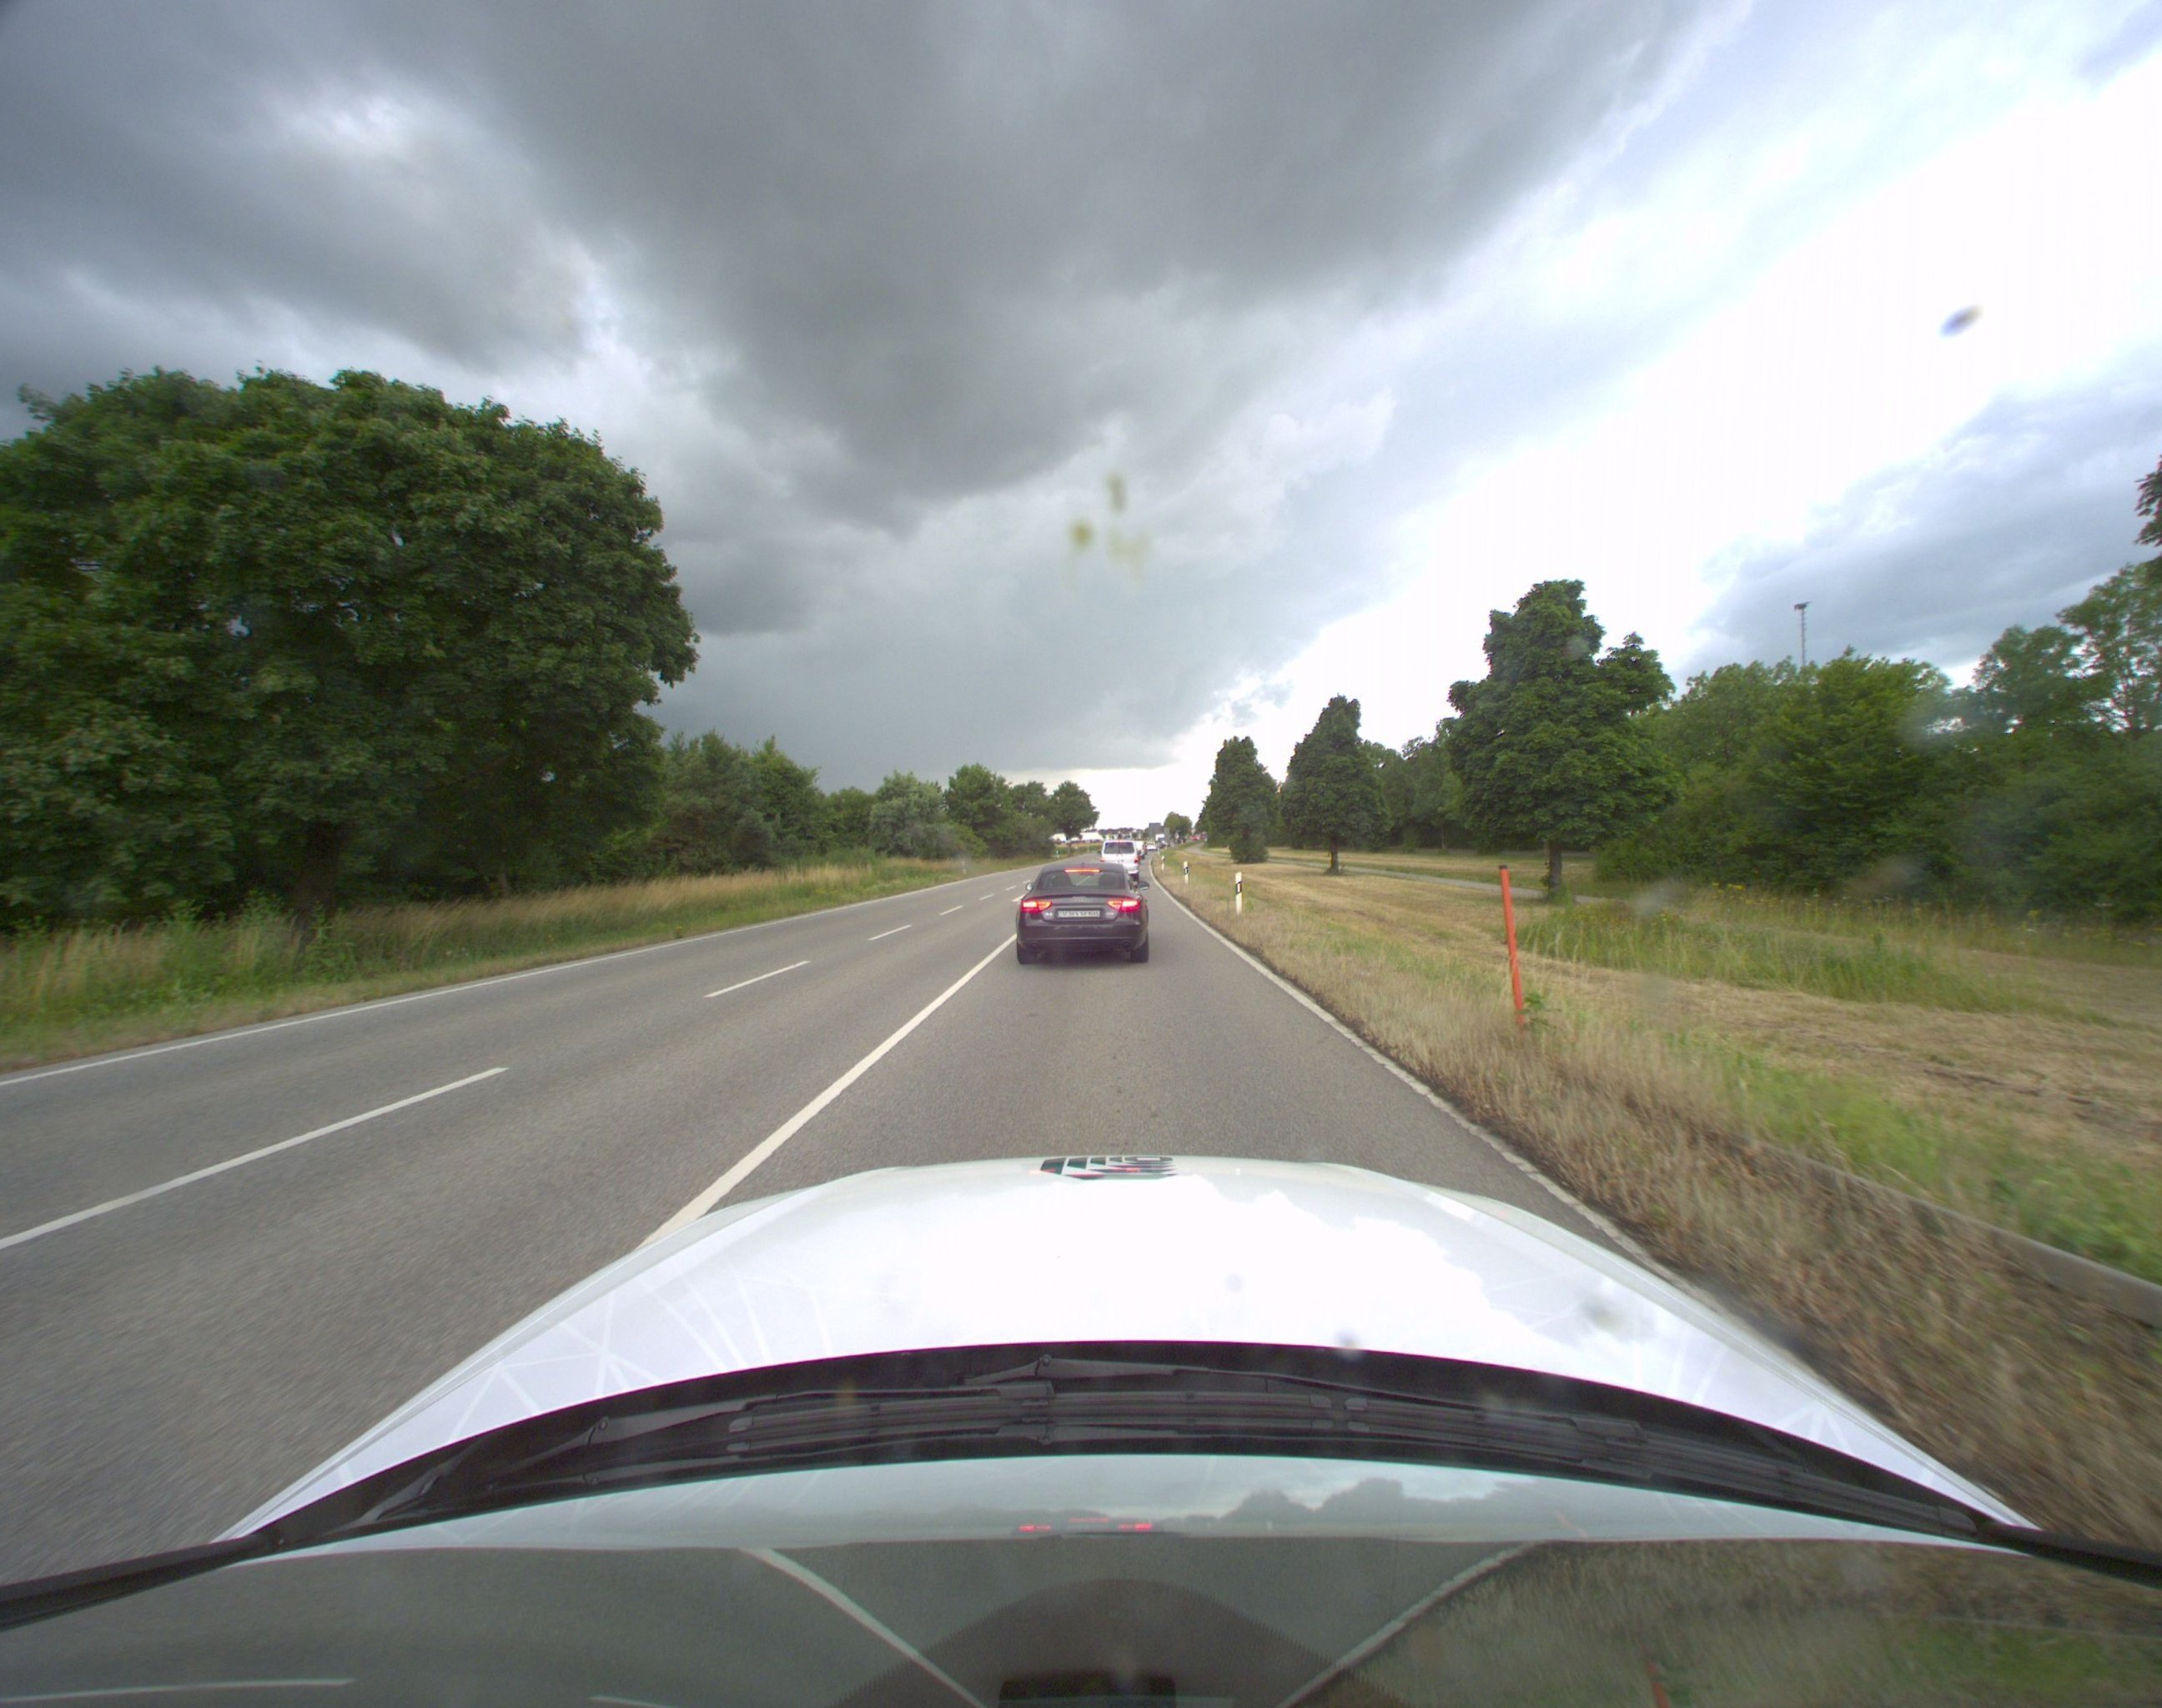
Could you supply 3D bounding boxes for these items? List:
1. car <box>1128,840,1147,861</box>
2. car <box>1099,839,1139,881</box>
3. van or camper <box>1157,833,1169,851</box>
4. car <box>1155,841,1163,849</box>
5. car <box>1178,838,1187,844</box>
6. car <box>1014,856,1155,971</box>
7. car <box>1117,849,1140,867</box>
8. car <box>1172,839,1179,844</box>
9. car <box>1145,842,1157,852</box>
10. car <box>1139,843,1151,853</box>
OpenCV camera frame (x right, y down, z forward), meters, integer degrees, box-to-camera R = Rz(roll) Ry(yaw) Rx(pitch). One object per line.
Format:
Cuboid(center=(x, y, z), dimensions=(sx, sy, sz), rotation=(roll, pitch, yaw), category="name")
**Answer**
Cuboid(center=(6.013, -0.382, 86.764), dimensions=(1.984, 2.088, 4.005), rotation=(-2, 0, 4), category="car")
Cuboid(center=(1.803, 0.246, 39.645), dimensions=(1.832, 1.882, 4.001), rotation=(-1, 1, 1), category="car")
Cuboid(center=(16.638, -2.400, 166.036), dimensions=(2.329, 3.481, 5.726), rotation=(-1, 0, 5), category="van or camper")
Cuboid(center=(14.150, -1.641, 147.281), dimensions=(1.251, 1.353, 3.473), rotation=(-2, 0, 7), category="car")
Cuboid(center=(24.124, -3.088, 193.395), dimensions=(1.814, 1.596, 4.003), rotation=(-1, 0, 2), category="car")
Cuboid(center=(0.090, 0.761, 12.375), dimensions=(1.776, 1.376, 4.001), rotation=(-1, 1, 1), category="car")
Cuboid(center=(3.989, 0.299, 67.820), dimensions=(1.787, 1.464, 3.253), rotation=(-1, 0, 5), category="car")
Cuboid(center=(24.581, -3.243, 211.686), dimensions=(1.712, 1.451, 4.003), rotation=(-1, 0, 2), category="car")
Cuboid(center=(11.114, -1.114, 128.481), dimensions=(1.726, 1.514, 3.754), rotation=(-2, 0, 7), category="car")
Cuboid(center=(8.444, -0.783, 107.510), dimensions=(1.528, 1.277, 3.750), rotation=(-2, 0, 4), category="car")
